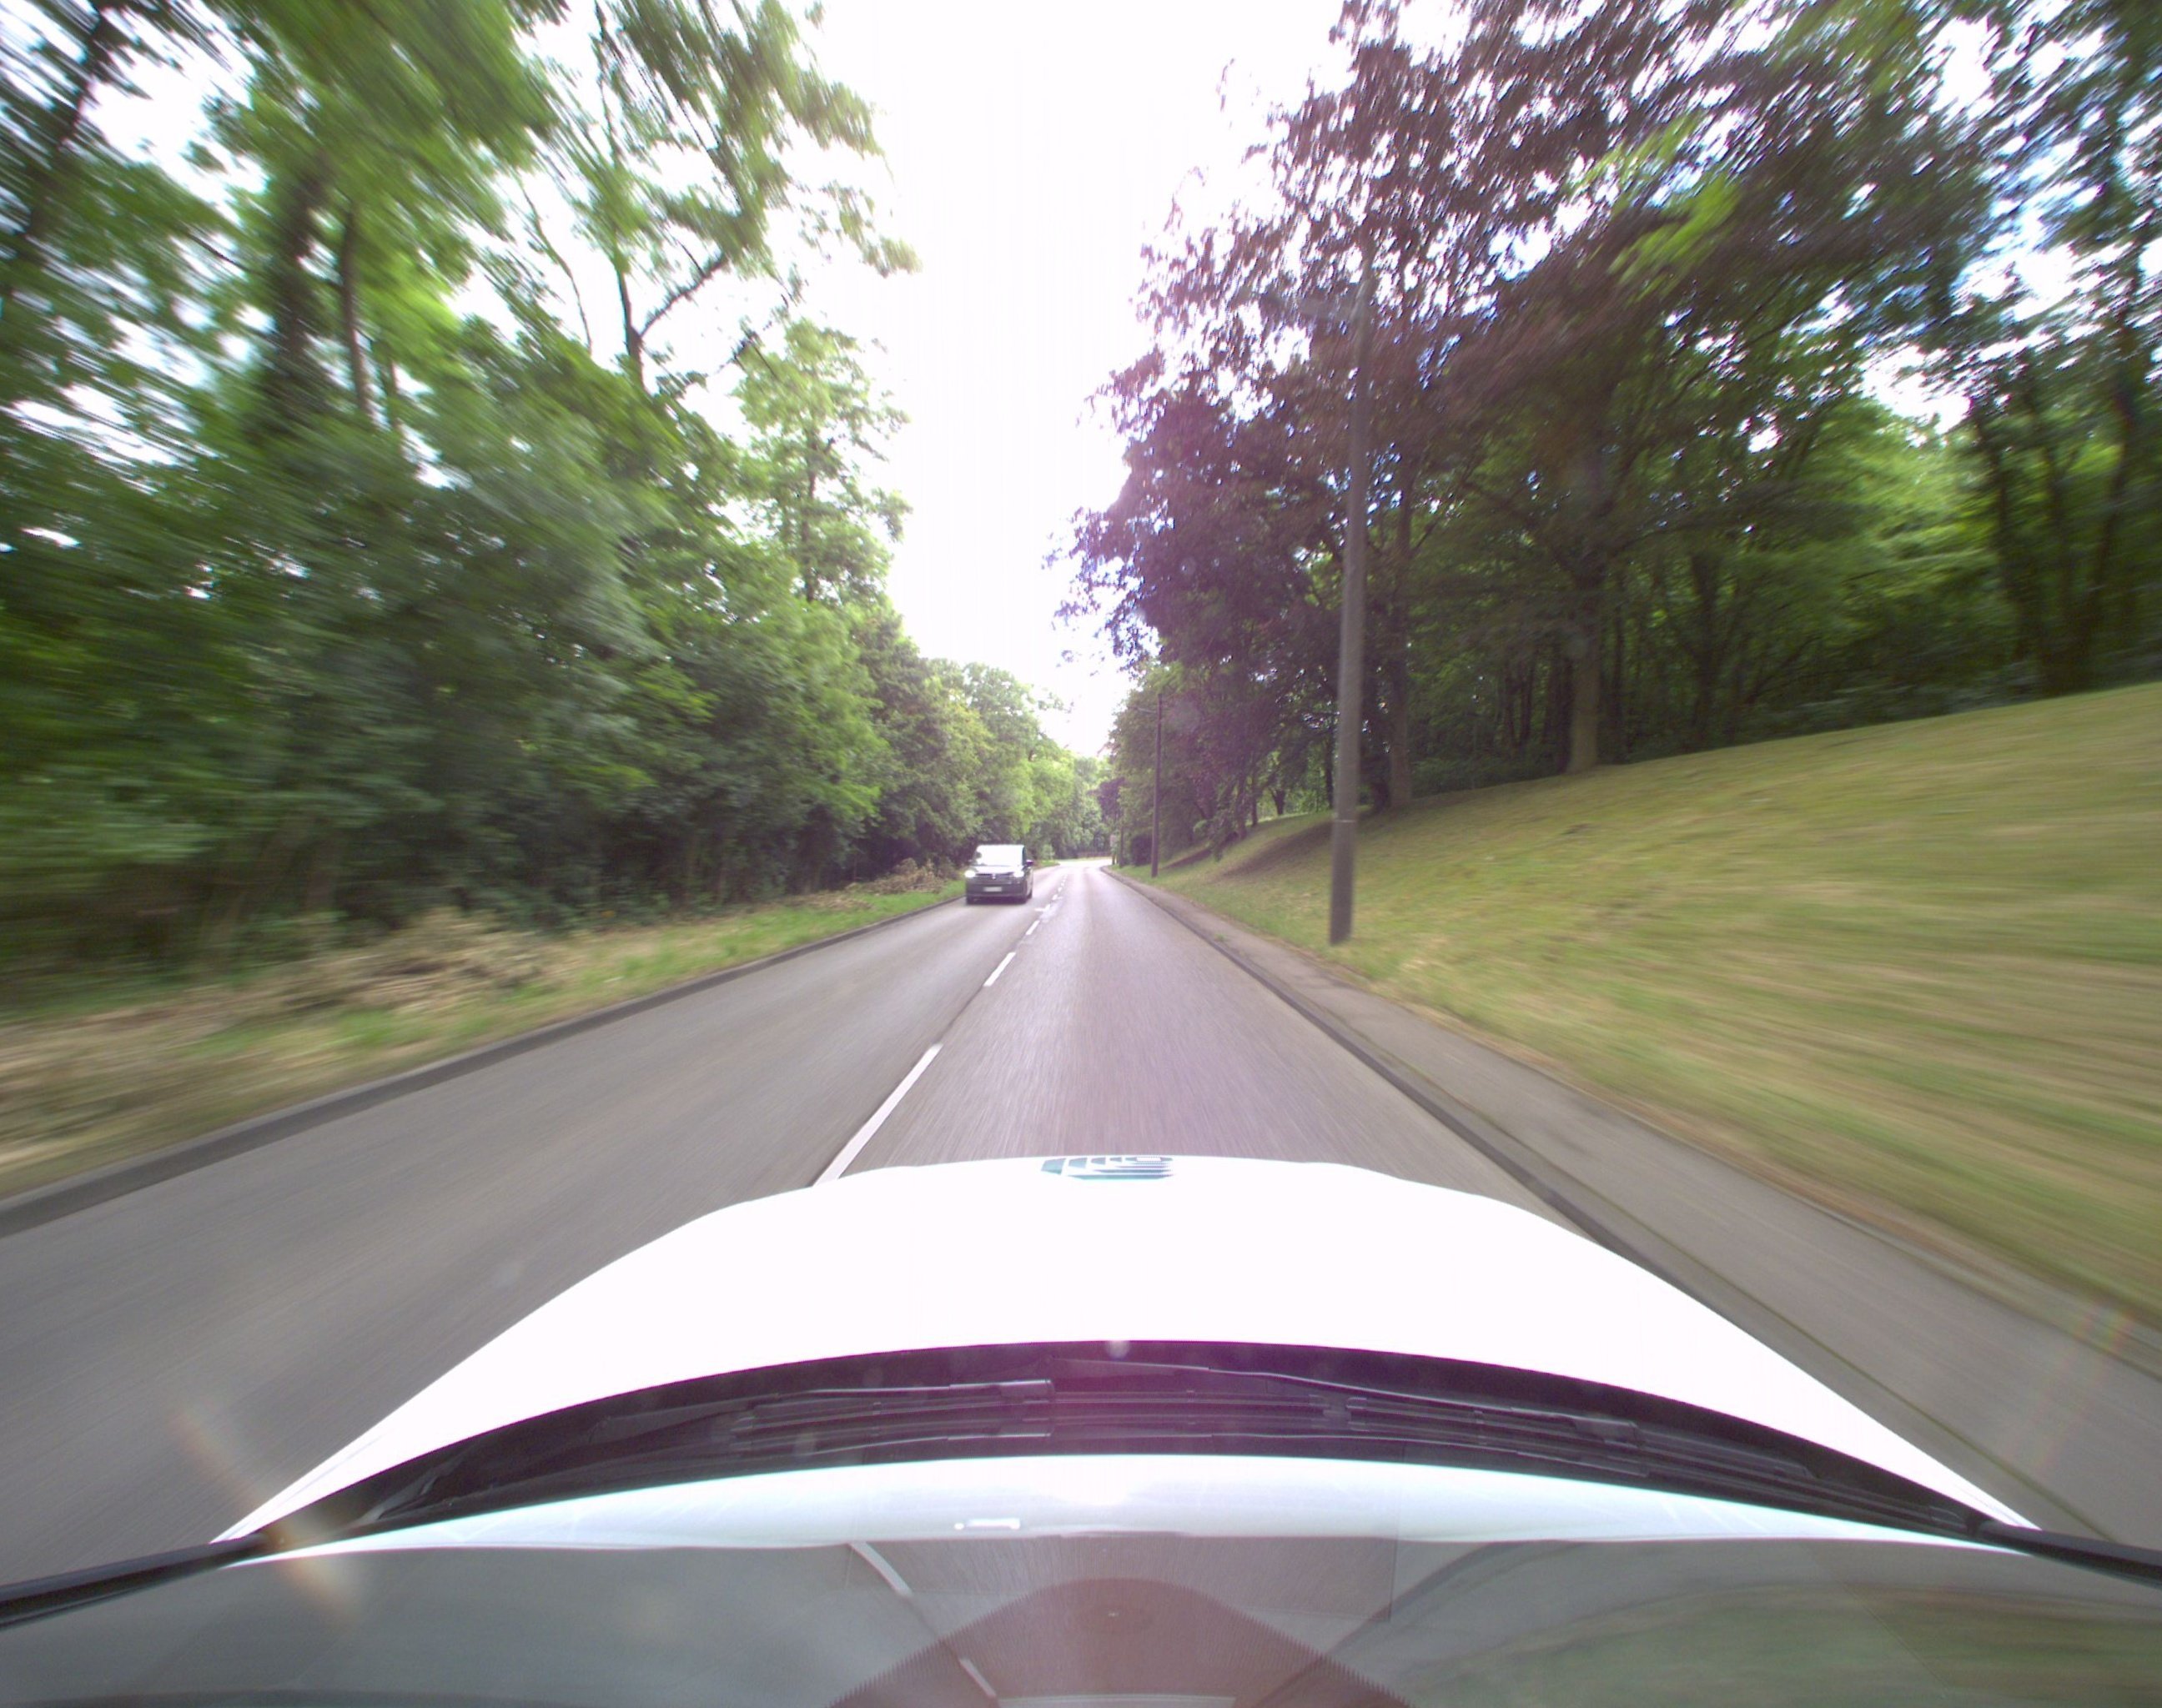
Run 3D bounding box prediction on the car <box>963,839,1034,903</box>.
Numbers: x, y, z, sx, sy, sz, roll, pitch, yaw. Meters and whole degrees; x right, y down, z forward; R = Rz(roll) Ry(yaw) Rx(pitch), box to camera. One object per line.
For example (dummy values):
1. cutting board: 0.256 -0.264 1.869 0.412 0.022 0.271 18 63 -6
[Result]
1. car: -2.654 0.537 27.221 1.988 1.948 4.942 0 0 -2
